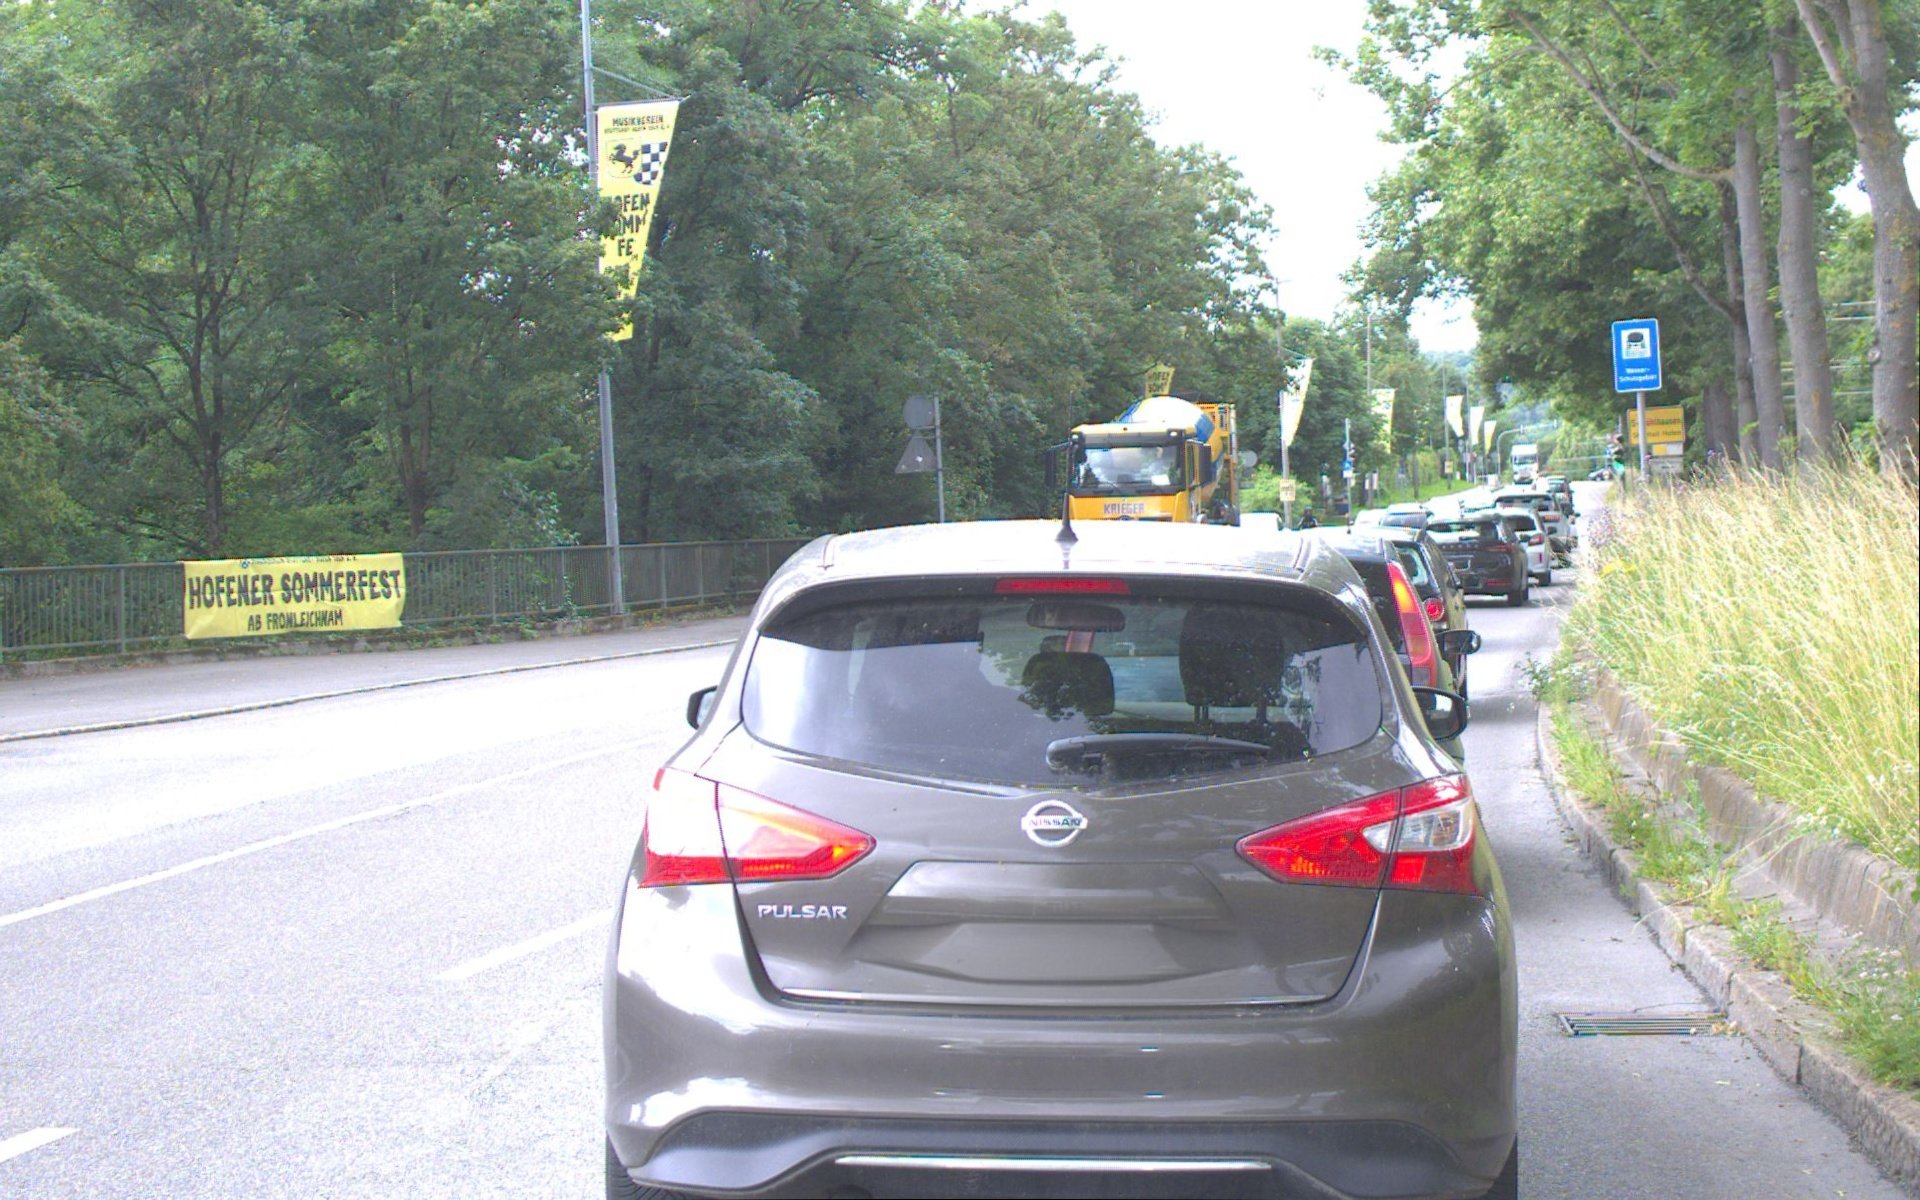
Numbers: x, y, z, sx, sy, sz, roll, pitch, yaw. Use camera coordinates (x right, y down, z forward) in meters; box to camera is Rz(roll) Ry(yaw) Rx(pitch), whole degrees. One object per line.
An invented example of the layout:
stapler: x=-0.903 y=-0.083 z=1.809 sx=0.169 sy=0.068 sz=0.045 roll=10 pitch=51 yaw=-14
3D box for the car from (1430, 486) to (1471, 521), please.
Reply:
car: x=22.983 y=-4.497 z=160.997 sx=1.753 sy=1.415 sz=3.998 roll=-2 pitch=-1 yaw=10

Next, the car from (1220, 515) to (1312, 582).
car: x=7.090 y=-1.208 z=79.250 sx=1.767 sy=1.474 sz=3.999 roll=0 pitch=1 yaw=10

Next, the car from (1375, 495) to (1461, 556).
car: x=11.901 y=-1.906 z=89.178 sx=1.852 sy=1.481 sz=4.418 roll=-1 pitch=0 yaw=12

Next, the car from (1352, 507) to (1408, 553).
car: x=14.870 y=-2.465 z=121.635 sx=1.722 sy=1.437 sz=3.998 roll=-2 pitch=-1 yaw=10

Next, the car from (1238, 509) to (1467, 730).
car: x=3.048 y=0.120 z=26.617 sx=1.578 sy=1.533 sz=3.999 roll=-2 pitch=0 yaw=7

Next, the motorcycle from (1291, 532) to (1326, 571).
motorcycle: x=9.515 y=-1.331 z=93.883 sx=0.745 sy=1.030 sz=1.887 roll=-1 pitch=1 yaw=12

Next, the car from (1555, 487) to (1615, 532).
car: x=20.902 y=-3.025 z=114.943 sx=1.892 sy=1.440 sz=3.805 roll=-1 pitch=1 yaw=11

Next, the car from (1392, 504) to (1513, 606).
car: x=7.752 y=-0.696 z=54.035 sx=1.805 sy=1.535 sz=3.999 roll=0 pitch=0 yaw=9

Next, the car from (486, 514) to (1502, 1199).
car: x=0.226 y=0.593 z=7.996 sx=1.775 sy=1.489 sz=3.999 roll=0 pitch=0 yaw=5

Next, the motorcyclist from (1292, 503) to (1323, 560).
motorcyclist: x=9.490 y=-1.861 z=93.792 sx=0.745 sy=1.533 sz=0.790 roll=-1 pitch=1 yaw=12

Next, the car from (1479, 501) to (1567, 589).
car: x=13.375 y=-1.316 z=81.561 sx=1.892 sy=2.007 sz=3.998 roll=-1 pitch=1 yaw=11

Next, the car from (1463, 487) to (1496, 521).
car: x=29.307 y=-5.392 z=193.882 sx=1.719 sy=1.687 sz=3.724 roll=-2 pitch=-1 yaw=10

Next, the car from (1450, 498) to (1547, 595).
car: x=10.359 y=-0.994 z=65.957 sx=1.719 sy=1.687 sz=3.998 roll=-2 pitch=-1 yaw=10

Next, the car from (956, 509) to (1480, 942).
car: x=1.069 y=0.458 z=14.564 sx=1.893 sy=1.568 sz=3.999 roll=-1 pitch=0 yaw=4

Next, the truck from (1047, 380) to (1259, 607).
truck: x=3.790 y=-1.961 z=64.833 sx=2.656 sy=3.925 sz=10.107 roll=0 pitch=1 yaw=11
